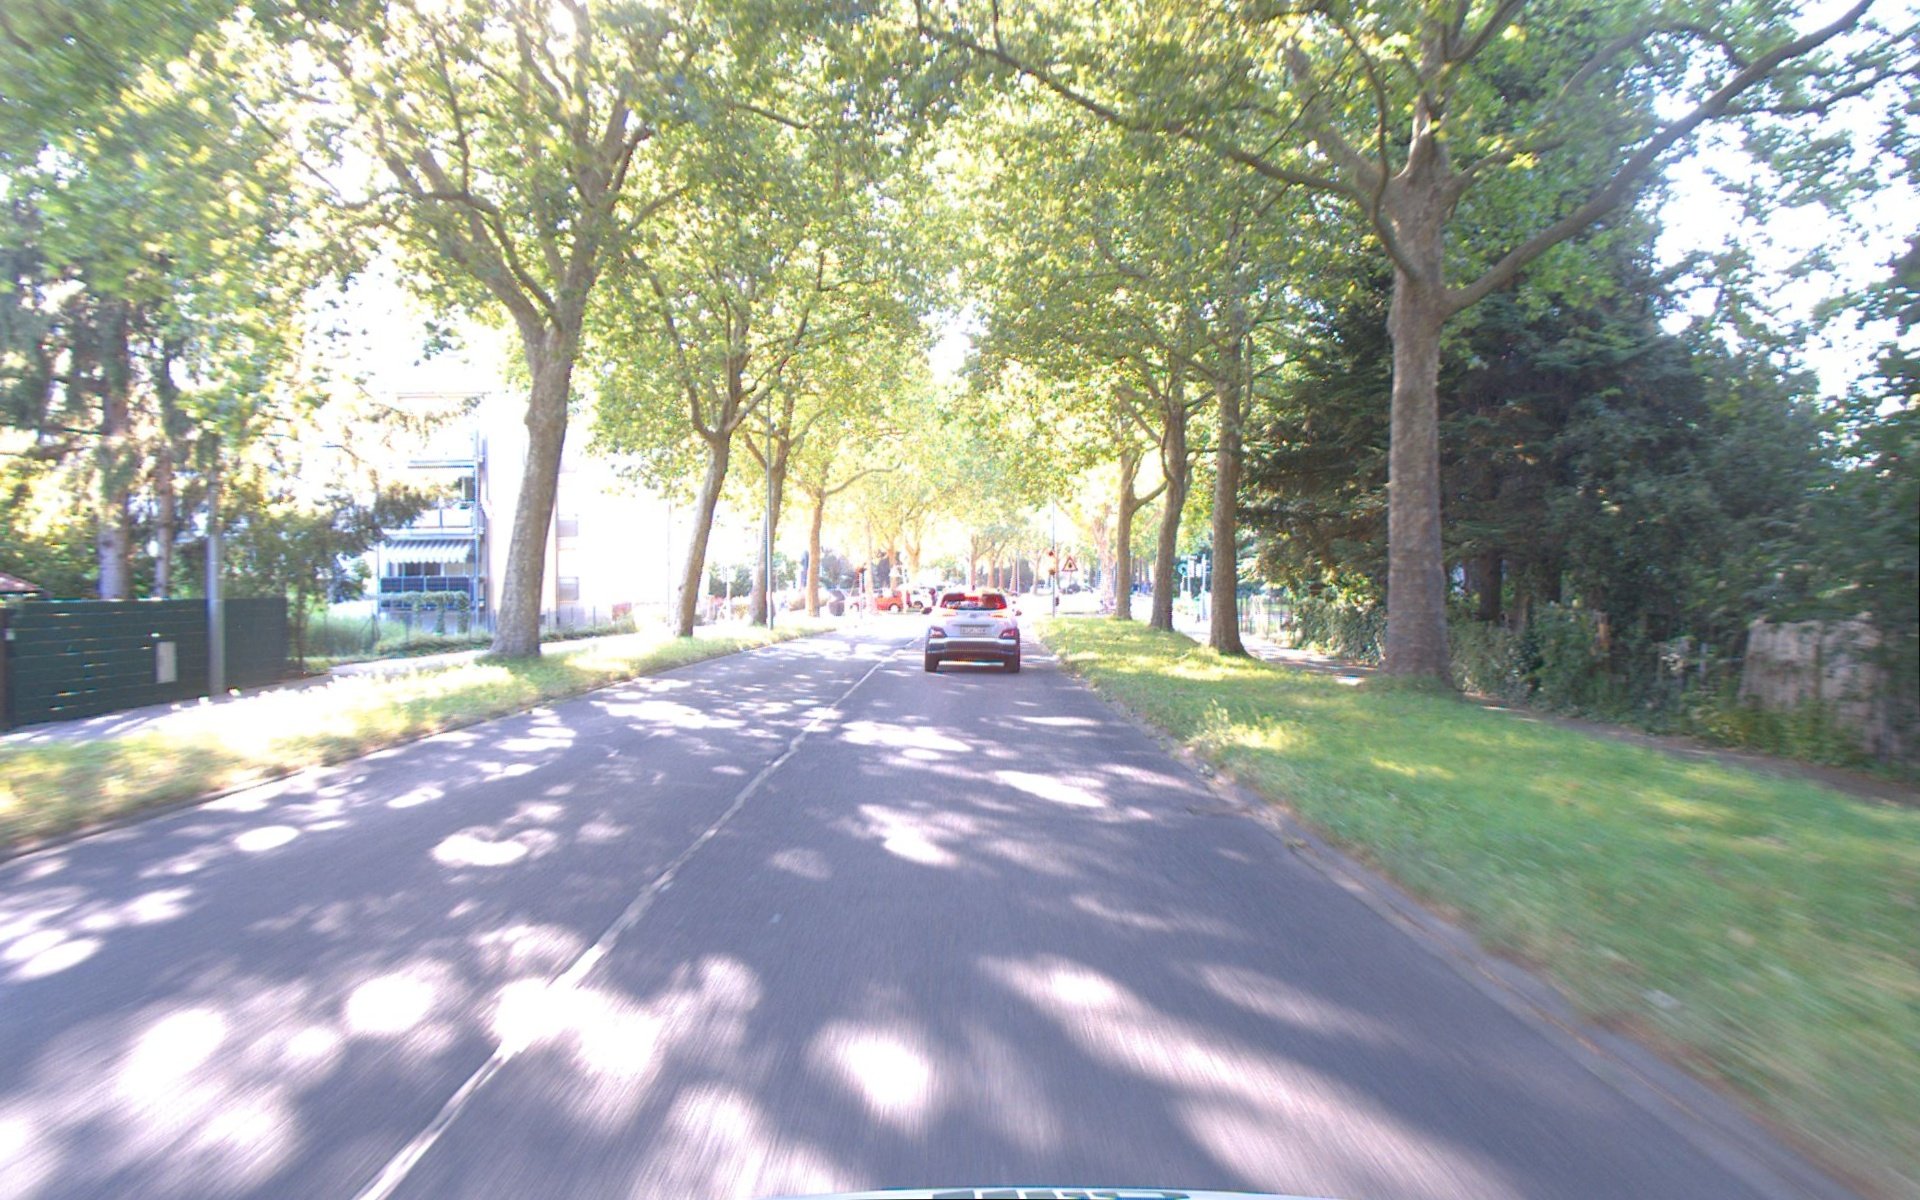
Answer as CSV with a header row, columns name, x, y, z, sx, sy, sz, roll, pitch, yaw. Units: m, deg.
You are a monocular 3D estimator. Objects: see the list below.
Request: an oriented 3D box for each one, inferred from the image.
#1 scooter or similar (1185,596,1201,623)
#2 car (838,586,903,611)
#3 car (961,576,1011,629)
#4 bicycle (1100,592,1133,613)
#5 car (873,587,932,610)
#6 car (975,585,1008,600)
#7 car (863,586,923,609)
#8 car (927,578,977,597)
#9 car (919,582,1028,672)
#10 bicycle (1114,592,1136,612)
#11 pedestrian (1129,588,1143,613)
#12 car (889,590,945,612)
name,x,y,z,sx,sy,sz,roll,pitch,yaw
scooter or similar,11.241,0.478,79.813,0.538,1.280,2.314,1,0,3
car,-5.685,-0.072,105.083,3.904,1.504,2.001,1,0,2
car,1.062,0.117,69.026,1.953,2.049,4.000,2,-1,0
bicycle,9.225,0.156,97.811,0.600,1.184,2.118,1,0,-41
car,-3.993,-0.086,115.055,3.903,1.504,2.001,1,0,5
car,3.731,-0.886,196.377,3.599,1.840,1.746,1,0,-7
car,-4.572,-0.156,112.604,3.904,1.504,2.001,1,0,2
car,-0.621,-1.011,134.582,3.904,1.504,2.001,1,0,2
car,0.296,0.490,32.018,1.952,1.602,4.001,1,0,1
bicycle,9.864,0.112,98.957,0.594,1.204,2.109,1,0,-17
pedestrian,15.046,0.058,141.336,1.071,2.048,1.106,2,0,8
car,-3.108,0.071,119.942,3.904,1.504,2.001,1,0,2
